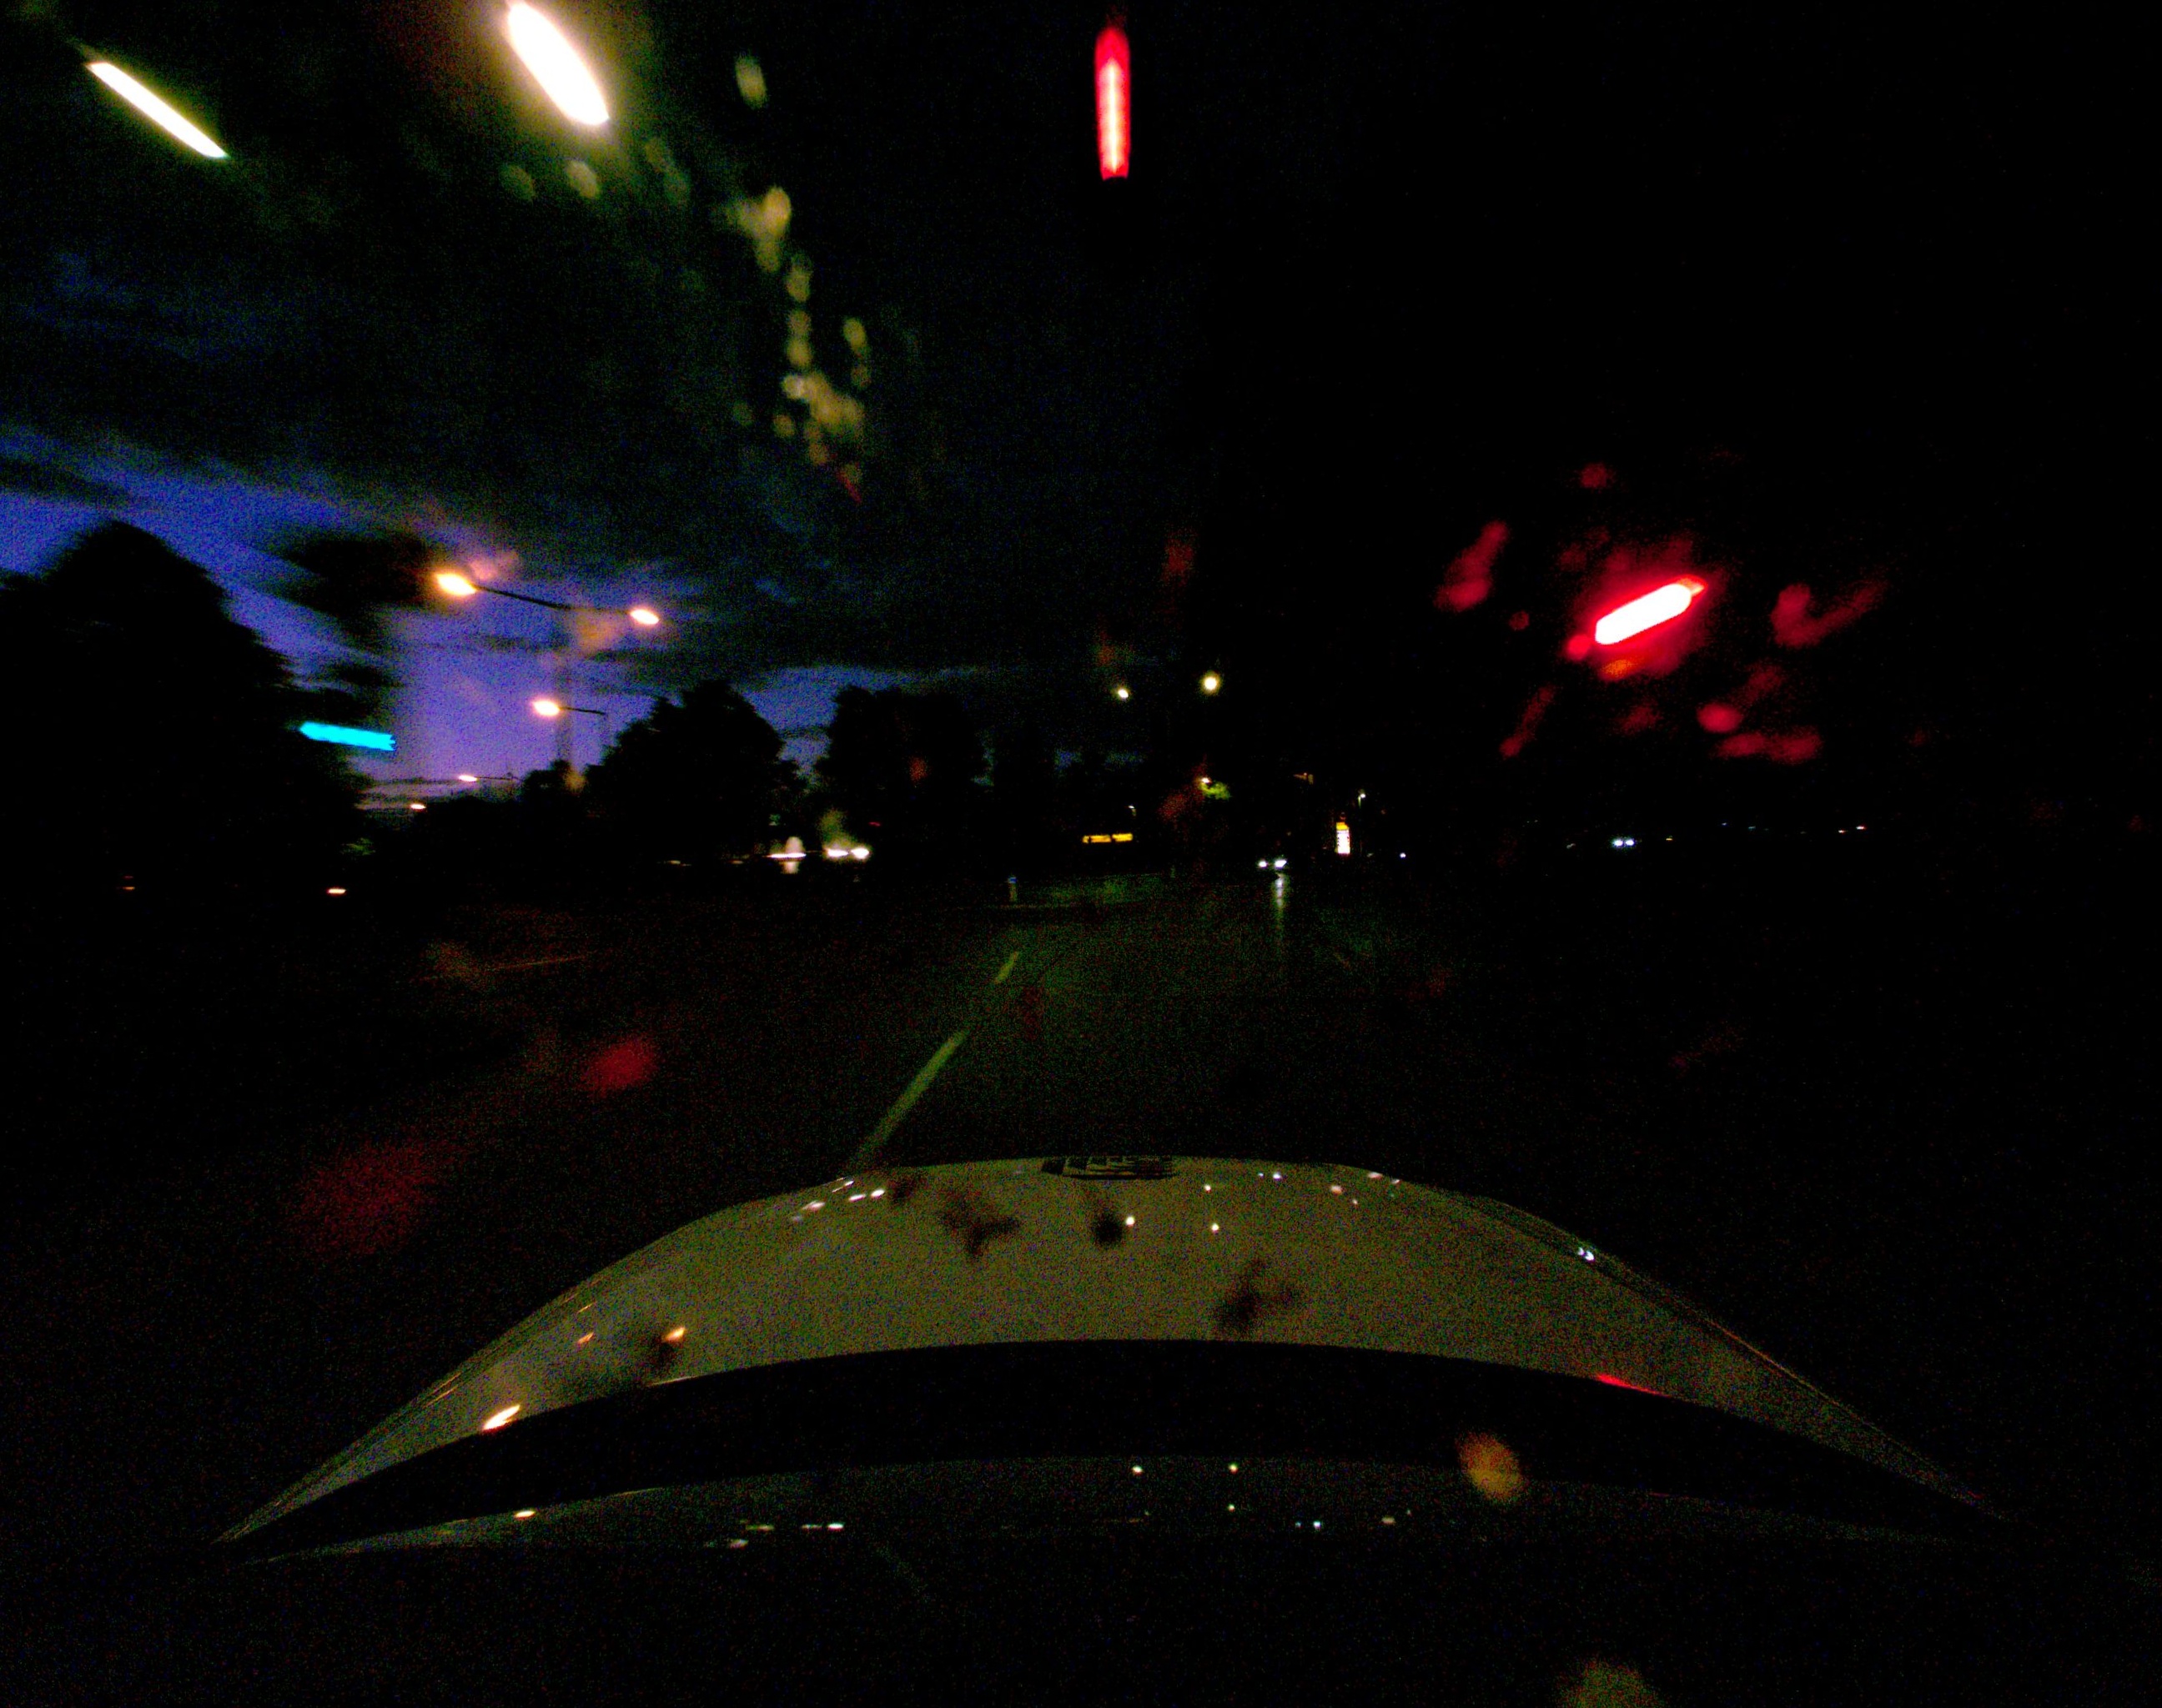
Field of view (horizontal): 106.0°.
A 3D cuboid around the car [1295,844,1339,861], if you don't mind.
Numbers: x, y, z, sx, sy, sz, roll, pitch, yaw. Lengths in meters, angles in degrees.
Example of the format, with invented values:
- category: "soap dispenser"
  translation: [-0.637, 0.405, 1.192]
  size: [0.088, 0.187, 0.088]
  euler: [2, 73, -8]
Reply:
- category: "car"
  translation: [21.107, -0.124, 72.677]
  size: [3.707, 1.420, 1.536]
  euler: [-2, 0, -27]

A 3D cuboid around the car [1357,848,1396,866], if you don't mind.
- category: "car"
  translation: [28.649, 0.280, 78.843]
  size: [4.478, 1.607, 1.739]
  euler: [-2, 0, -44]

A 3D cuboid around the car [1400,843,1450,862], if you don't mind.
- category: "car"
  translation: [28.510, -0.098, 67.511]
  size: [4.608, 1.403, 1.745]
  euler: [-2, 0, -37]

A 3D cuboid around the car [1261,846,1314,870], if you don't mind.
- category: "car"
  translation: [13.357, 0.266, 52.548]
  size: [1.742, 1.445, 4.556]
  euler: [-2, 0, 35]
